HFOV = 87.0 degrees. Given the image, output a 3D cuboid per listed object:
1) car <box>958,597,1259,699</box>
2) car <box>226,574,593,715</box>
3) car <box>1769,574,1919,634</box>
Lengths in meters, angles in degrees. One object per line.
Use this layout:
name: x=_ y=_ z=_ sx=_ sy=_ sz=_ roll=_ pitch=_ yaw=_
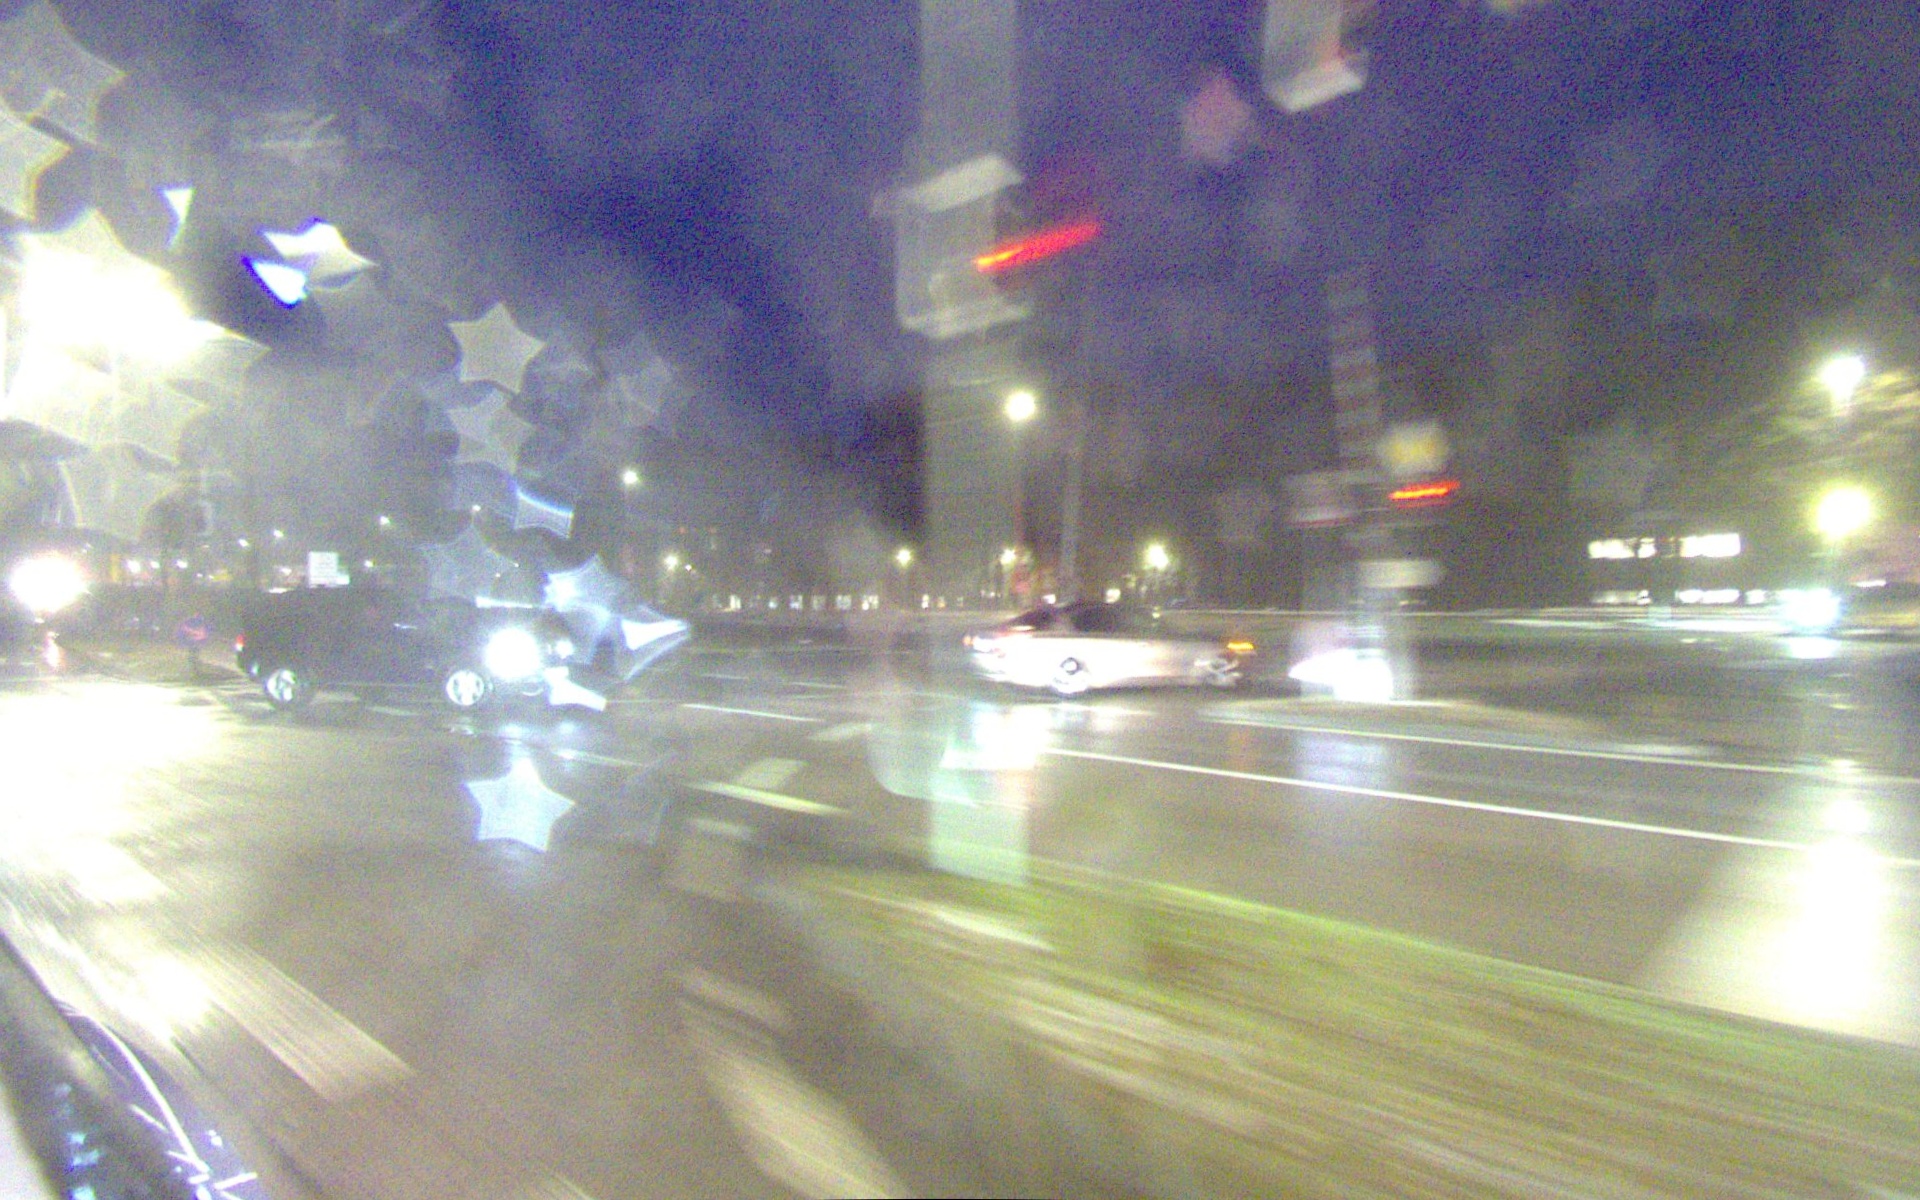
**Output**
car: x=2.349 y=0.685 z=16.013 sx=4.427 sy=1.375 sz=1.672 roll=-1 pitch=1 yaw=-21
car: x=-7.911 y=0.607 z=14.718 sx=4.477 sy=1.858 sz=1.993 roll=-1 pitch=0 yaw=12
car: x=25.706 y=0.096 z=28.575 sx=3.959 sy=1.603 sz=1.992 roll=-1 pitch=0 yaw=13
